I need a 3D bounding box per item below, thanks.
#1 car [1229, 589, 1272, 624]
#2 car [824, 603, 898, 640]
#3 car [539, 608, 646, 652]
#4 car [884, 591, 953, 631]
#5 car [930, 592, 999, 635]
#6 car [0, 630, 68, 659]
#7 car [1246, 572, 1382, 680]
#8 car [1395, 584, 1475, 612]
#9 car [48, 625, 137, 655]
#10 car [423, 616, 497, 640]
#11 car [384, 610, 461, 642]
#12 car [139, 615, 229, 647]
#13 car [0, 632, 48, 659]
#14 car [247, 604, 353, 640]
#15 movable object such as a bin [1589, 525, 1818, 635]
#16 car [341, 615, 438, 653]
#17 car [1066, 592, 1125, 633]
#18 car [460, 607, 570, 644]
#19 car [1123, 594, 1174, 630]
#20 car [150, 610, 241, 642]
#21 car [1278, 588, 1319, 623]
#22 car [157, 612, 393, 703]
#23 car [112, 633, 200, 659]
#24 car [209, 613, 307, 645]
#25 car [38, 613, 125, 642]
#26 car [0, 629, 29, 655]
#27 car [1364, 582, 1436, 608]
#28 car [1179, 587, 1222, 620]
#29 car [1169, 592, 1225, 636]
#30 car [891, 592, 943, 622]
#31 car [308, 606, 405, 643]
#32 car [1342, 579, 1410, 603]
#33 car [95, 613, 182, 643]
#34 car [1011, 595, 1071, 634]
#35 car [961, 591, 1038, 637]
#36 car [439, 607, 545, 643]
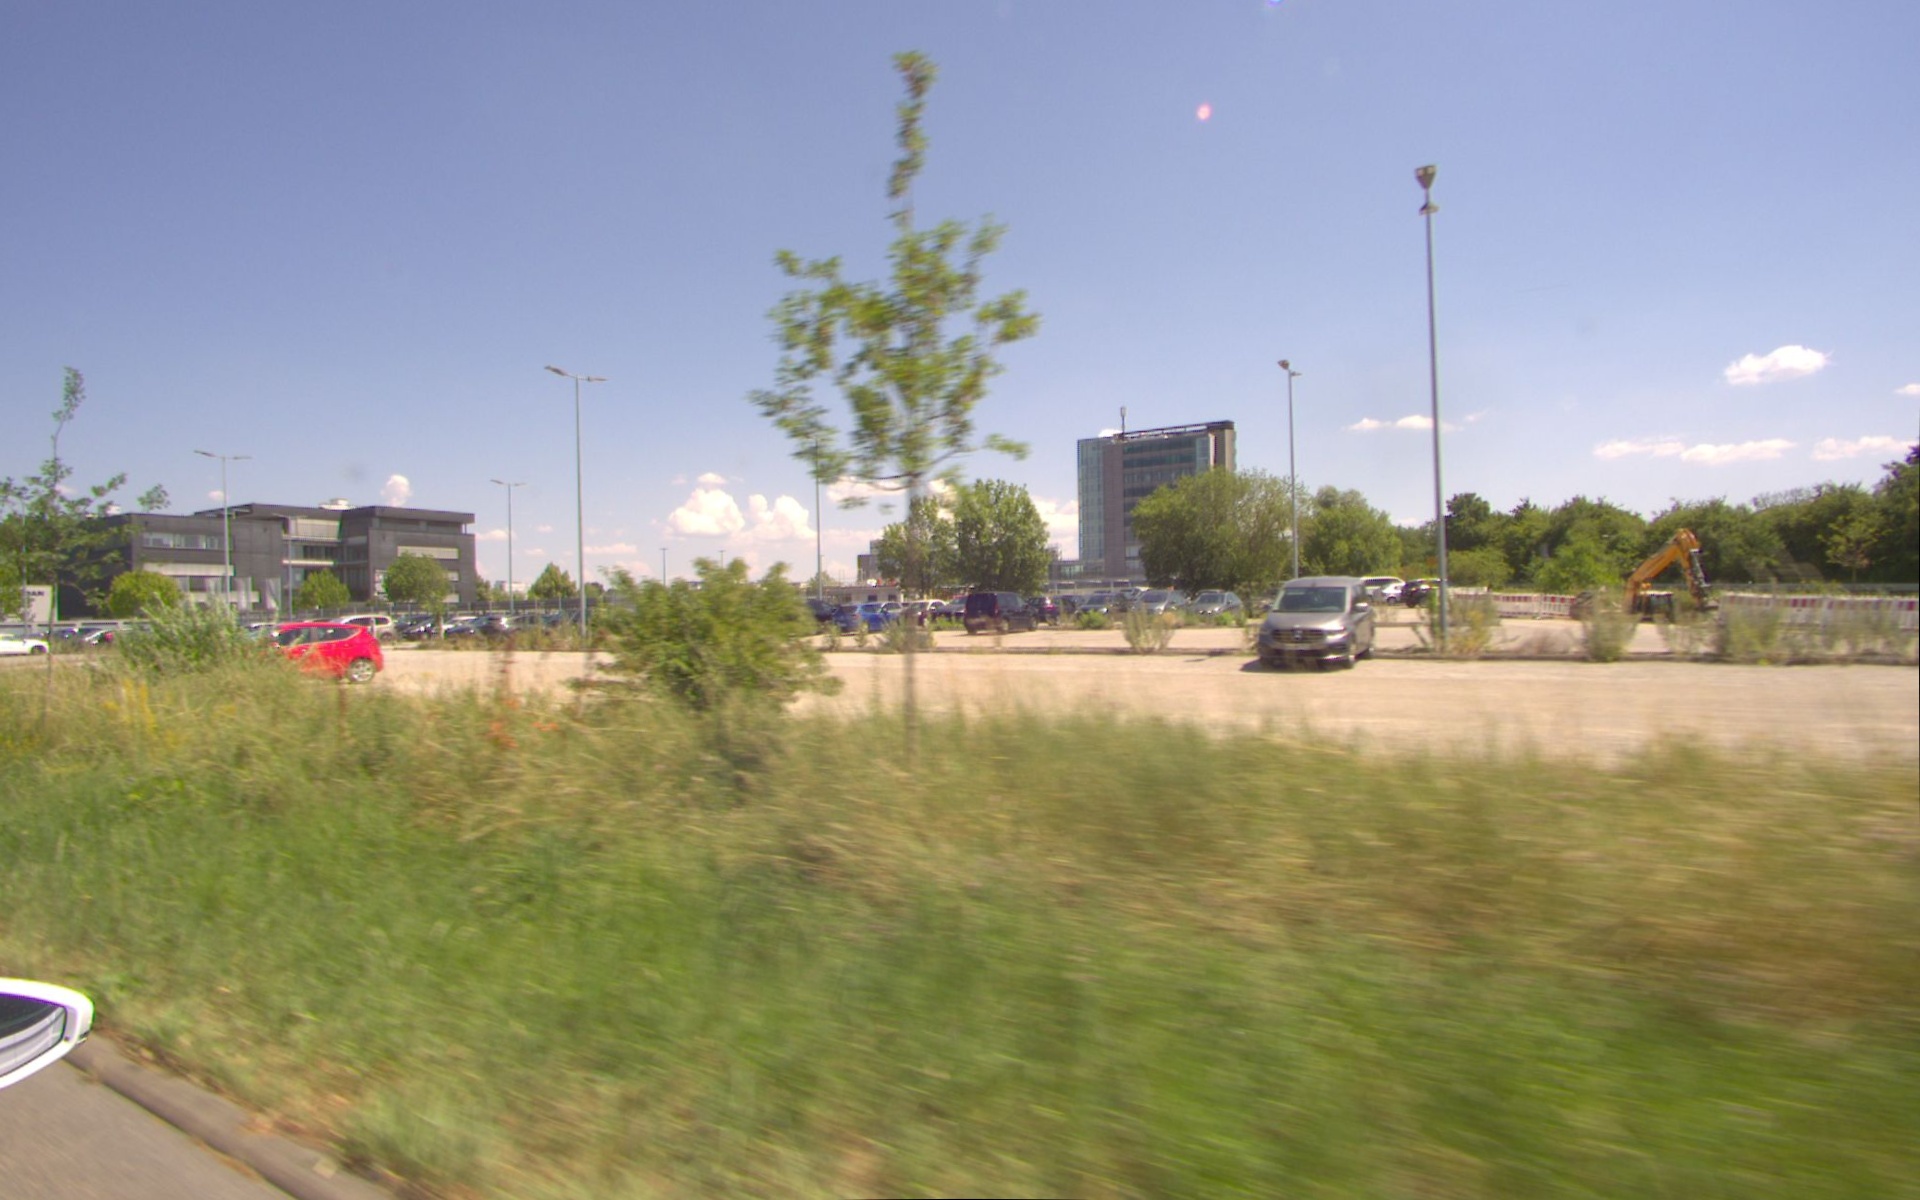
[{"bbox_3d":[15.819,0.311,54.395,1.964,1.663,3.990,2,3,19],"label":"car"},{"bbox_3d":[-4.563,0.972,46.733,1.706,1.485,3.792,2,3,27],"label":"car"},{"bbox_3d":[-15.730,1.273,42.998,1.899,1.663,3.979,-2,0,31],"label":"car"},{"bbox_3d":[-2.165,0.538,52.881,1.968,1.908,3.983,2,3,27],"label":"car"},{"bbox_3d":[0.262,0.644,51.141,1.968,1.908,3.983,2,3,27],"label":"car"},{"bbox_3d":[-56.694,2.674,60.380,1.741,1.420,3.981,2,3,29],"label":"car"},{"bbox_3d":[7.425,0.426,20.722,1.910,1.941,4.454,0,2,29],"label":"car"},{"bbox_3d":[28.752,-0.136,60.721,3.922,1.550,1.875,-2,1,-2],"label":"car"},{"bbox_3d":[-56.513,2.562,65.318,1.741,1.618,3.982,2,3,28],"label":"car"},{"bbox_3d":[-31.725,1.732,63.635,1.704,1.209,3.983,2,3,27],"label":"car"},{"bbox_3d":[-34.718,1.646,64.731,1.968,1.707,3.983,2,3,27],"label":"car"},{"bbox_3d":[-47.786,1.873,61.733,1.741,1.618,3.982,2,3,28],"label":"car"},{"bbox_3d":[-58.904,2.807,61.454,1.741,1.420,3.982,2,3,28],"label":"car"},{"bbox_3d":[-34.828,1.122,52.949,1.741,1.618,4.360,2,3,28],"label":"car"},{"bbox_3d":[30.415,-0.921,41.612,2.930,4.101,8.097,0,3,-4],"label":"movable object such as a bin"},{"bbox_3d":[-29.082,1.682,51.134,1.741,1.618,3.982,2,3,28],"label":"car"},{"bbox_3d":[6.447,0.560,47.226,1.964,1.663,3.990,2,3,19],"label":"car"},{"bbox_3d":[-19.292,1.094,43.522,1.899,1.414,3.979,-2,0,31],"label":"car"},{"bbox_3d":[8.691,0.511,45.973,1.690,1.440,3.990,2,3,19],"label":"car"},{"bbox_3d":[-45.755,1.497,60.000,1.741,1.618,3.982,2,3,28],"label":"car"},{"bbox_3d":[18.264,0.268,53.974,1.964,1.663,3.990,2,3,19],"label":"car"},{"bbox_3d":[-15.481,1.239,22.848,1.899,1.747,3.979,-2,1,31],"label":"car"},{"bbox_3d":[-51.133,2.909,63.732,1.741,1.289,3.982,2,3,28],"label":"car"},{"bbox_3d":[-38.193,1.536,54.561,1.741,1.412,3.982,2,3,28],"label":"car"},{"bbox_3d":[-58.810,1.817,67.086,1.741,1.618,3.982,2,3,28],"label":"car"},{"bbox_3d":[-61.402,2.700,62.871,1.741,1.511,3.982,2,3,28],"label":"car"},{"bbox_3d":[29.166,-0.351,66.456,3.922,1.550,1.875,-2,1,-2],"label":"car"},{"bbox_3d":[13.677,0.180,56.745,1.964,1.663,3.990,2,3,19],"label":"car"},{"bbox_3d":[10.488,0.582,44.176,1.964,1.663,3.990,2,3,19],"label":"car"},{"bbox_3d":[-2.708,0.423,63.509,1.964,1.663,3.990,2,3,19],"label":"car"},{"bbox_3d":[-31.192,1.210,51.846,1.741,1.618,3.982,2,3,28],"label":"car"},{"bbox_3d":[28.568,-0.633,68.818,3.922,1.550,1.875,-2,1,-2],"label":"car"},{"bbox_3d":[-53.310,1.808,65.084,1.741,1.618,3.982,2,3,28],"label":"car"},{"bbox_3d":[3.975,0.670,48.687,1.964,1.663,3.990,2,3,19],"label":"car"},{"bbox_3d":[1.737,0.573,43.046,1.731,1.782,3.981,0,2,28],"label":"car"},{"bbox_3d":[-21.311,1.126,45.728,1.899,1.414,3.979,-2,0,31],"label":"car"}]
